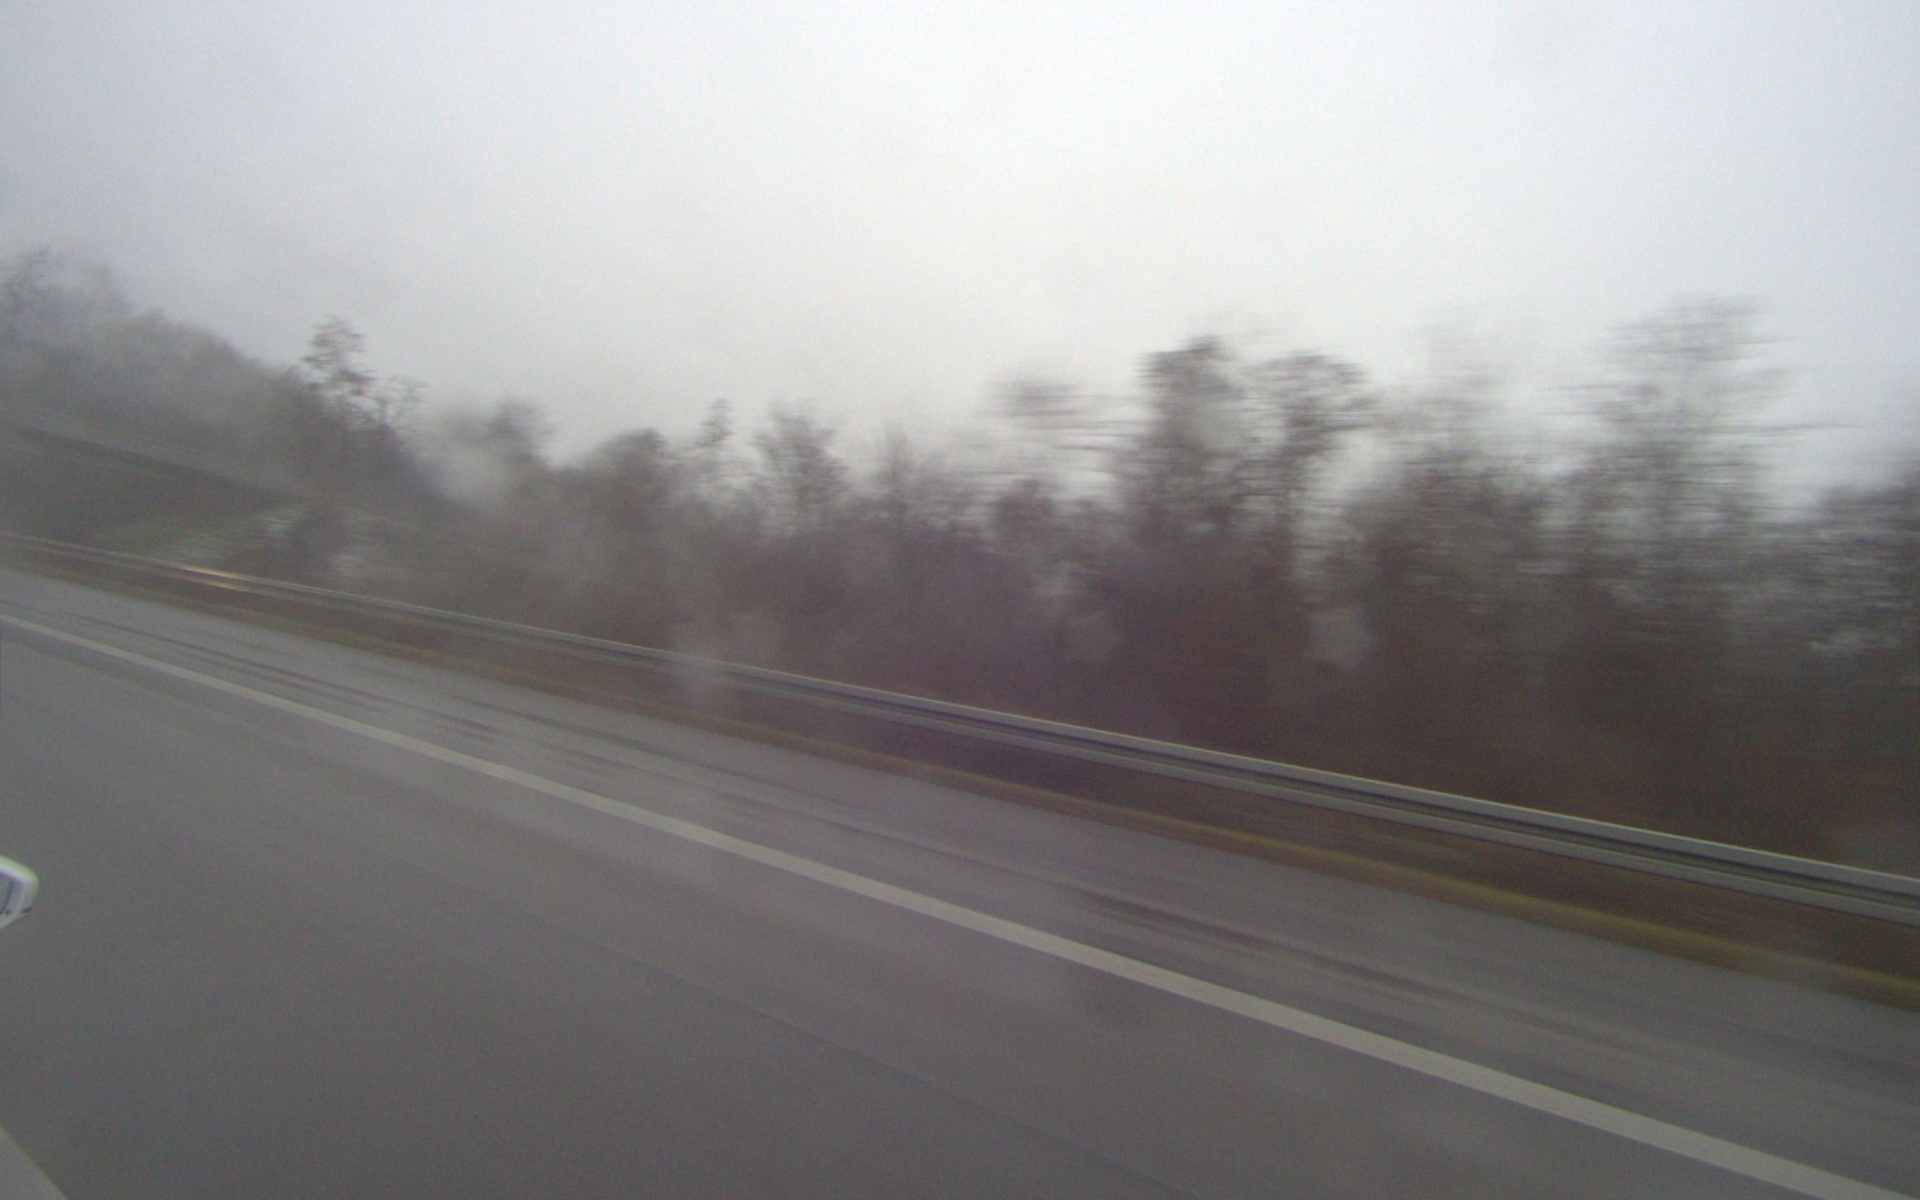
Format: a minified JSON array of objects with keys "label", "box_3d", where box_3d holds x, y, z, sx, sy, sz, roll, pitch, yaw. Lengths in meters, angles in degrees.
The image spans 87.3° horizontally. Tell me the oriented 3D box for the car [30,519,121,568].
[{"label":"car","box_3d":[-32.330,-2.076,36.759,3.432,1.359,1.457,6,-3,32]}]
